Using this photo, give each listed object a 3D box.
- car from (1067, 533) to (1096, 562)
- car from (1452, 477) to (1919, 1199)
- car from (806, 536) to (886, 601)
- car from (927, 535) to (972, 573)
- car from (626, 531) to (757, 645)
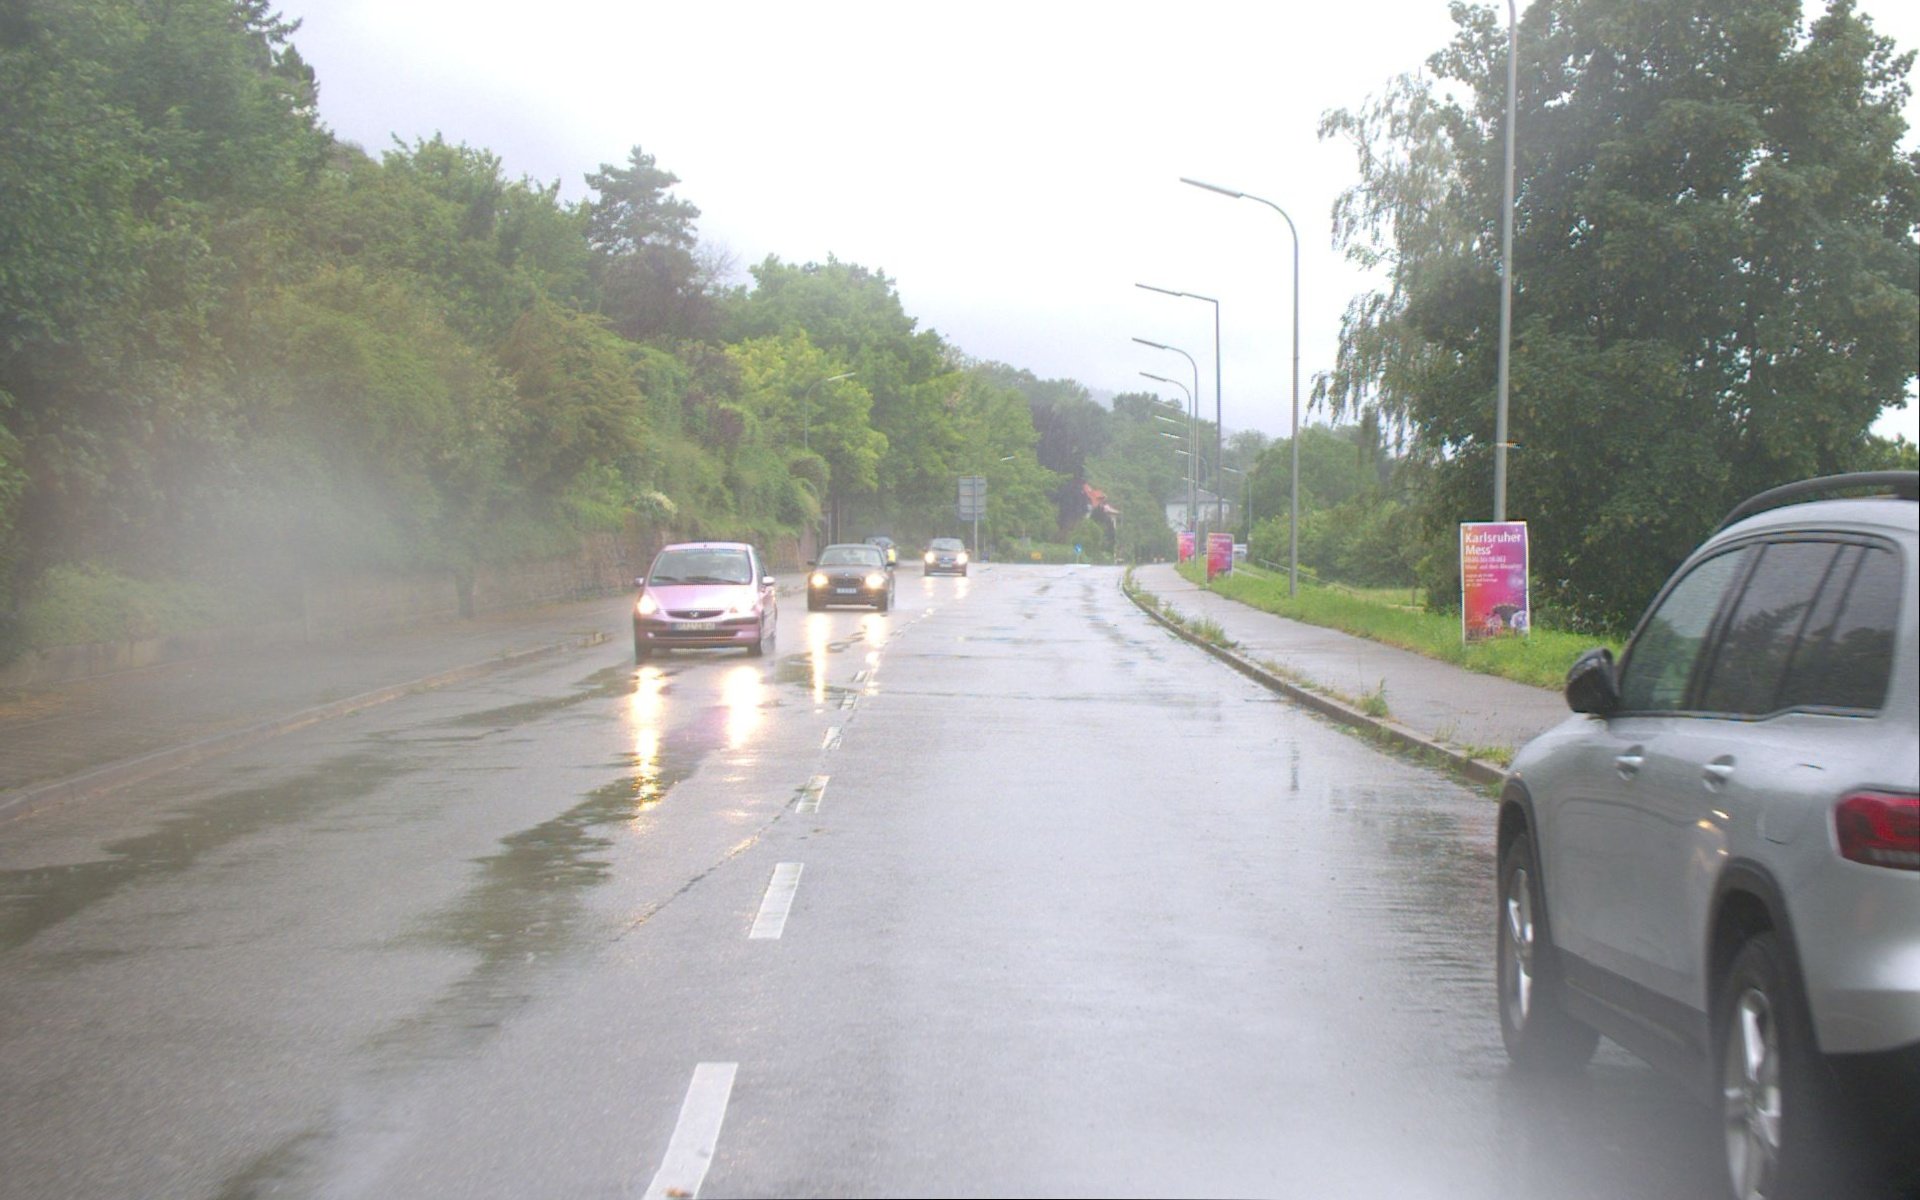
[{"bbox_3d":[8.670,-3.768,245.887,1.993,2.007,4.000,1,1,1],"label":"car"},{"bbox_3d":[2.477,0.567,8.476,1.815,1.640,4.396,0,1,-1],"label":"car"},{"bbox_3d":[-2.416,-0.692,73.784,1.654,1.347,3.988,0,1,-1],"label":"car"},{"bbox_3d":[-0.411,-1.844,137.487,1.760,1.491,4.127,0,1,0],"label":"car"},{"bbox_3d":[-3.543,-0.179,45.819,1.662,1.456,3.663,0,1,-3],"label":"car"}]
